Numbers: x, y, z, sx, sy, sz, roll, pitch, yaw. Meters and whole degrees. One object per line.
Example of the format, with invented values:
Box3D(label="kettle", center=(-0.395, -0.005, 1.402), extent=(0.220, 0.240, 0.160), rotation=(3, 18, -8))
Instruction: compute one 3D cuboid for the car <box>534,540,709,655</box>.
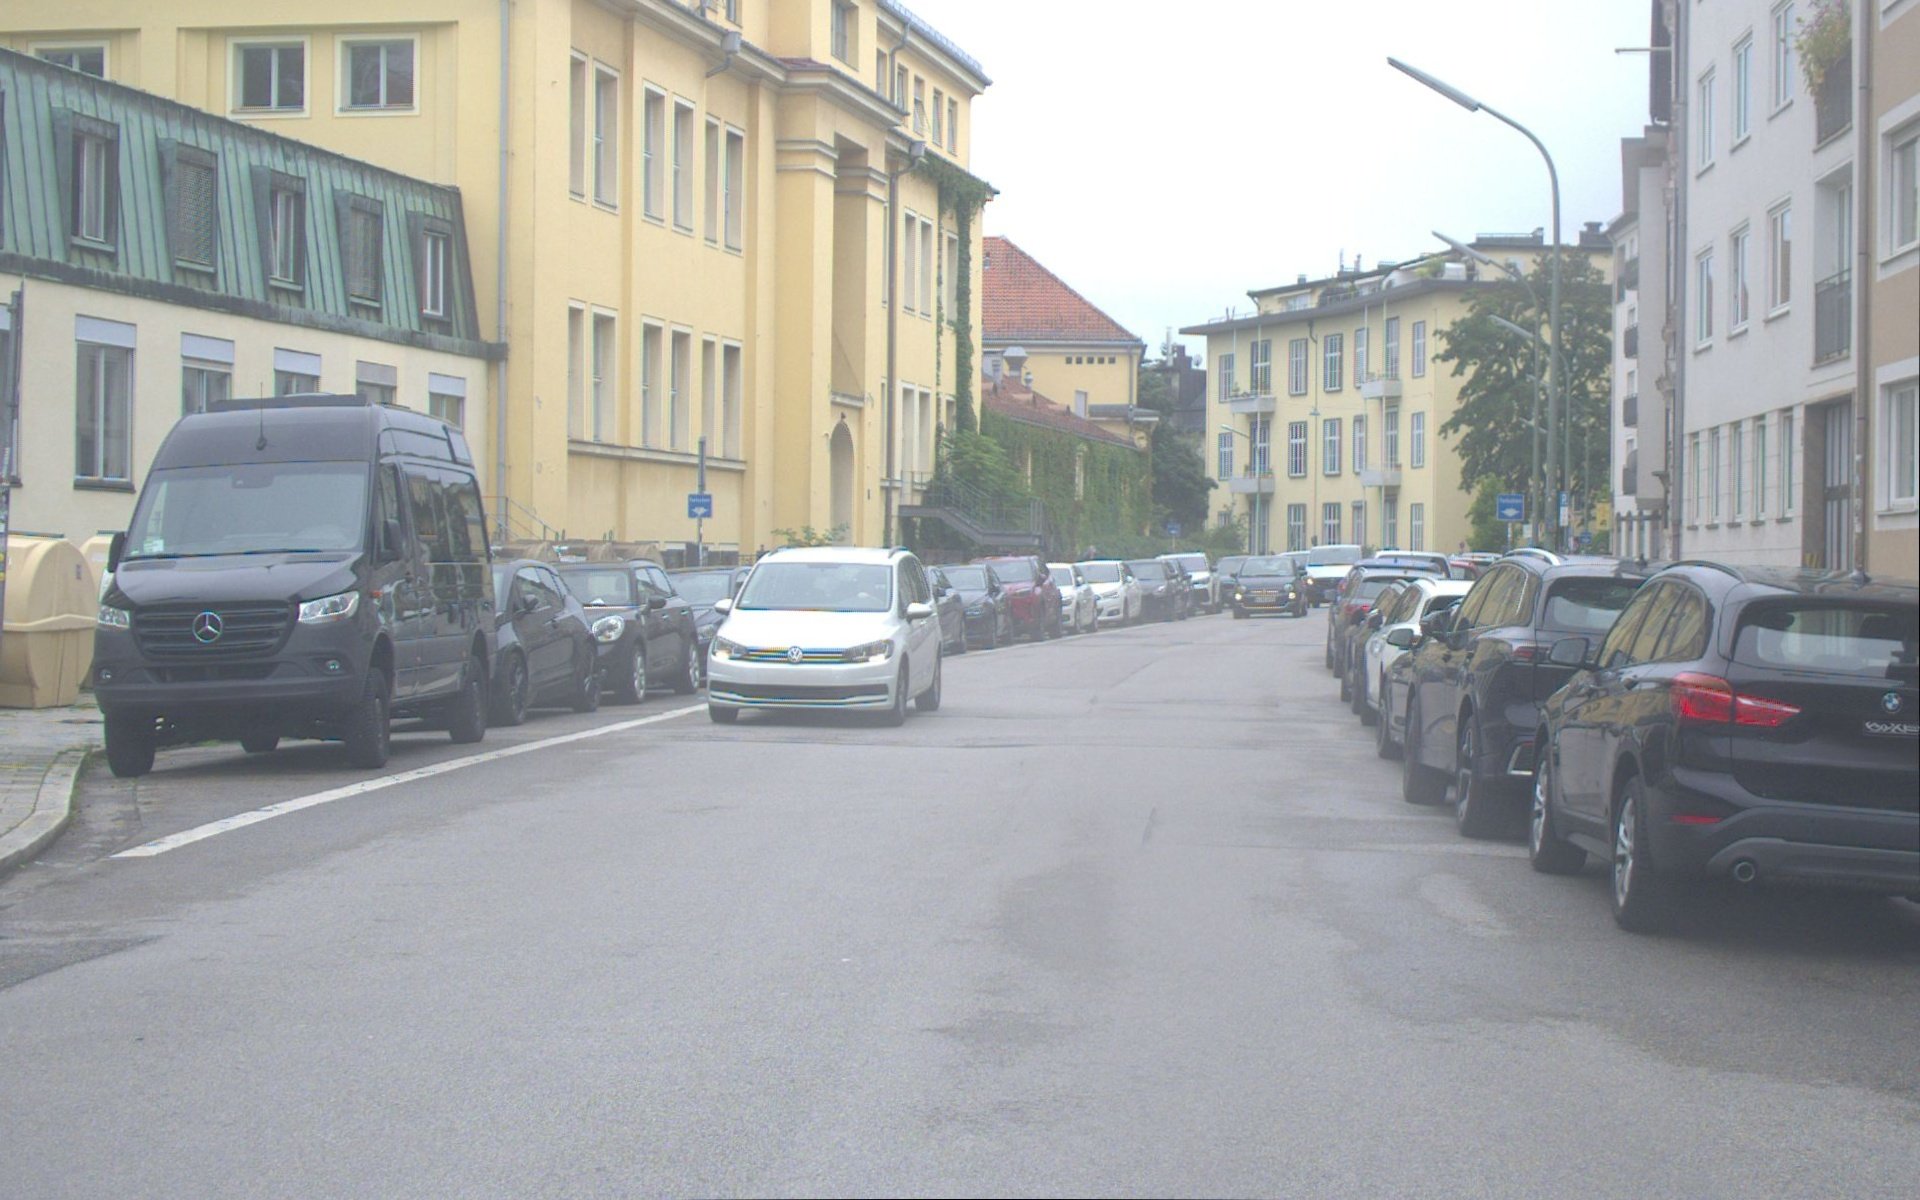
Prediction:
Box3D(label="car", center=(-5.341, -0.073, 54.682), extent=(1.720, 1.655, 3.746), rotation=(3, 2, 11))

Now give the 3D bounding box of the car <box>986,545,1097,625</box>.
Box3D(label="car", center=(1.631, -0.314, 67.710), extent=(1.698, 1.439, 3.507), rotation=(3, 2, 9))

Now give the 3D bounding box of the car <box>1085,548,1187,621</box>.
Box3D(label="car", center=(4.143, -0.386, 80.544), extent=(1.994, 1.543, 3.999), rotation=(2, 2, 8))

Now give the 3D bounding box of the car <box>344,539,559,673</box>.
Box3D(label="car", center=(-6.904, 0.040, 47.052), extent=(1.720, 1.655, 3.746), rotation=(3, 2, 11))

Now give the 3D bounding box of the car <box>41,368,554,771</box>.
Box3D(label="car", center=(-4.834, -0.199, 26.194), extent=(2.422, 2.706, 5.952), rotation=(0, 0, 3))

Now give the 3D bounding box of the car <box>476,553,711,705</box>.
Box3D(label="car", center=(-3.938, 0.274, 37.462), extent=(1.699, 1.448, 3.740), rotation=(2, 2, 7))

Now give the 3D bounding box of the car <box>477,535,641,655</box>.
Box3D(label="car", center=(-5.944, -0.100, 51.233), extent=(1.606, 1.655, 2.807), rotation=(3, 2, 11))

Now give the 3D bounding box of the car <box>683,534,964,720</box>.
Box3D(label="car", center=(-1.215, 0.275, 32.804), extent=(2.026, 1.616, 4.504), rotation=(-1, -1, 6))

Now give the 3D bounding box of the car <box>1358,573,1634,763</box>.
Box3D(label="car", center=(4.678, 0.538, 30.626), extent=(1.887, 1.470, 4.743), rotation=(2, 1, 3))

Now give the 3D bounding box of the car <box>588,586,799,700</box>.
Box3D(label="car", center=(-3.235, 0.498, 42.376), extent=(1.529, 1.198, 3.739), rotation=(3, 2, 13))

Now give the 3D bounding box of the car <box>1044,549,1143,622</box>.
Box3D(label="car", center=(2.945, -0.338, 75.171), extent=(1.698, 1.439, 3.507), rotation=(3, 2, 9))

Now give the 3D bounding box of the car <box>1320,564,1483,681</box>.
Box3D(label="car", center=(5.874, 0.265, 46.126), extent=(1.887, 1.405, 4.430), rotation=(2, 1, 4))

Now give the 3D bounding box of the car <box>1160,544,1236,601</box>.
Box3D(label="car", center=(7.202, -0.846, 103.738), extent=(1.994, 1.543, 3.999), rotation=(2, 2, 8))

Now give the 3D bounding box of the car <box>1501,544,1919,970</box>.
Box3D(label="car", center=(3.737, 0.608, 15.867), extent=(1.830, 1.596, 4.266), rotation=(2, 2, 1))

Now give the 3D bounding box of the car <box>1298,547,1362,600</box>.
Box3D(label="car", center=(10.938, -0.792, 101.529), extent=(1.698, 1.439, 3.507), rotation=(3, 2, 8))

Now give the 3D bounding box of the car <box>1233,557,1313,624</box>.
Box3D(label="car", center=(7.576, -0.248, 82.969), extent=(1.698, 1.439, 3.507), rotation=(3, 2, 8))

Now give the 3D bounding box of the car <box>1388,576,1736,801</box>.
Box3D(label="car", center=(4.278, 0.574, 25.061), extent=(1.887, 1.317, 4.274), rotation=(2, 2, 2))

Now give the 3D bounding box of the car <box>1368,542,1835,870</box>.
Box3D(label="car", center=(3.691, 0.525, 20.634), extent=(1.964, 1.596, 4.671), rotation=(2, 2, 1))

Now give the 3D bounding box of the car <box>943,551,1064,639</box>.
Box3D(label="car", center=(0.810, -0.110, 62.296), extent=(1.698, 1.439, 3.507), rotation=(3, 2, 8))

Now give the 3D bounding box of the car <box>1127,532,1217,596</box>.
Box3D(label="car", center=(5.579, -0.966, 90.173), extent=(1.994, 1.543, 3.999), rotation=(2, 2, 8))
